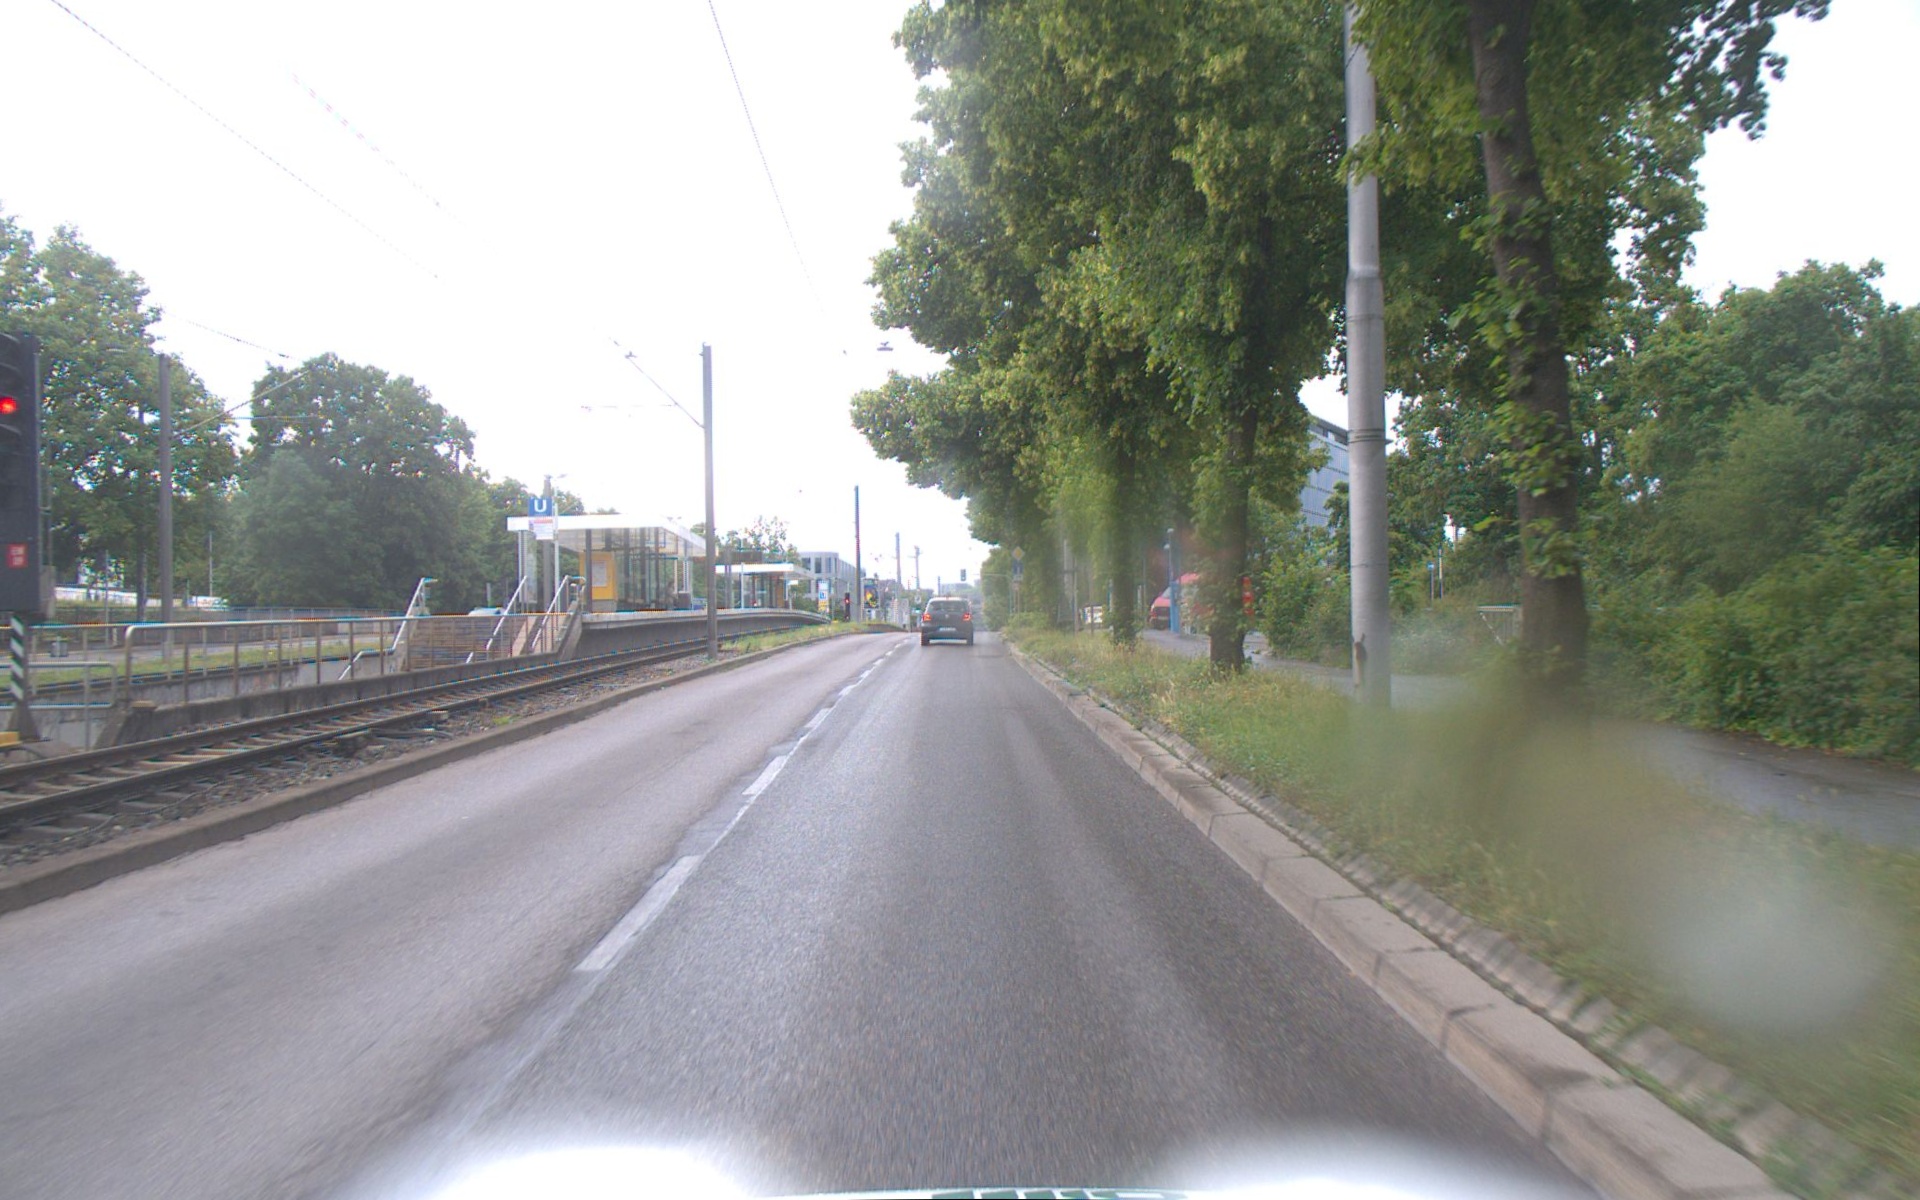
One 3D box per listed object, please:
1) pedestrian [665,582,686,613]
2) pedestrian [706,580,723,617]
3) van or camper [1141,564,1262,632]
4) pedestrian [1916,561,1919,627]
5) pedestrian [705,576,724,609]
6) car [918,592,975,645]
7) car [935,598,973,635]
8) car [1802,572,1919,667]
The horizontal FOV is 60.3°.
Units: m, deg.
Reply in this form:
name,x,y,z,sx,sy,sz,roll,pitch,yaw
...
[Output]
name,x,y,z,sx,sy,sz,roll,pitch,yaw
pedestrian,-11.592,-0.108,67.394,0.696,1.247,0.619,-1,0,0
pedestrian,-12.852,-0.093,86.583,0.732,1.943,0.837,0,1,-20
van or camper,9.624,-0.053,65.520,2.006,2.448,5.357,3,0,42
pedestrian,16.434,0.221,27.196,0.889,1.801,0.929,-3,-1,-42
pedestrian,-12.699,-0.376,85.614,0.783,1.675,0.913,0,1,-21
car,-0.439,0.540,52.126,1.691,1.567,3.999,-1,0,-1
car,-0.278,0.729,74.987,1.653,1.544,4.000,-1,0,0
car,17.283,0.312,28.473,1.982,1.607,4.581,-1,0,-41
